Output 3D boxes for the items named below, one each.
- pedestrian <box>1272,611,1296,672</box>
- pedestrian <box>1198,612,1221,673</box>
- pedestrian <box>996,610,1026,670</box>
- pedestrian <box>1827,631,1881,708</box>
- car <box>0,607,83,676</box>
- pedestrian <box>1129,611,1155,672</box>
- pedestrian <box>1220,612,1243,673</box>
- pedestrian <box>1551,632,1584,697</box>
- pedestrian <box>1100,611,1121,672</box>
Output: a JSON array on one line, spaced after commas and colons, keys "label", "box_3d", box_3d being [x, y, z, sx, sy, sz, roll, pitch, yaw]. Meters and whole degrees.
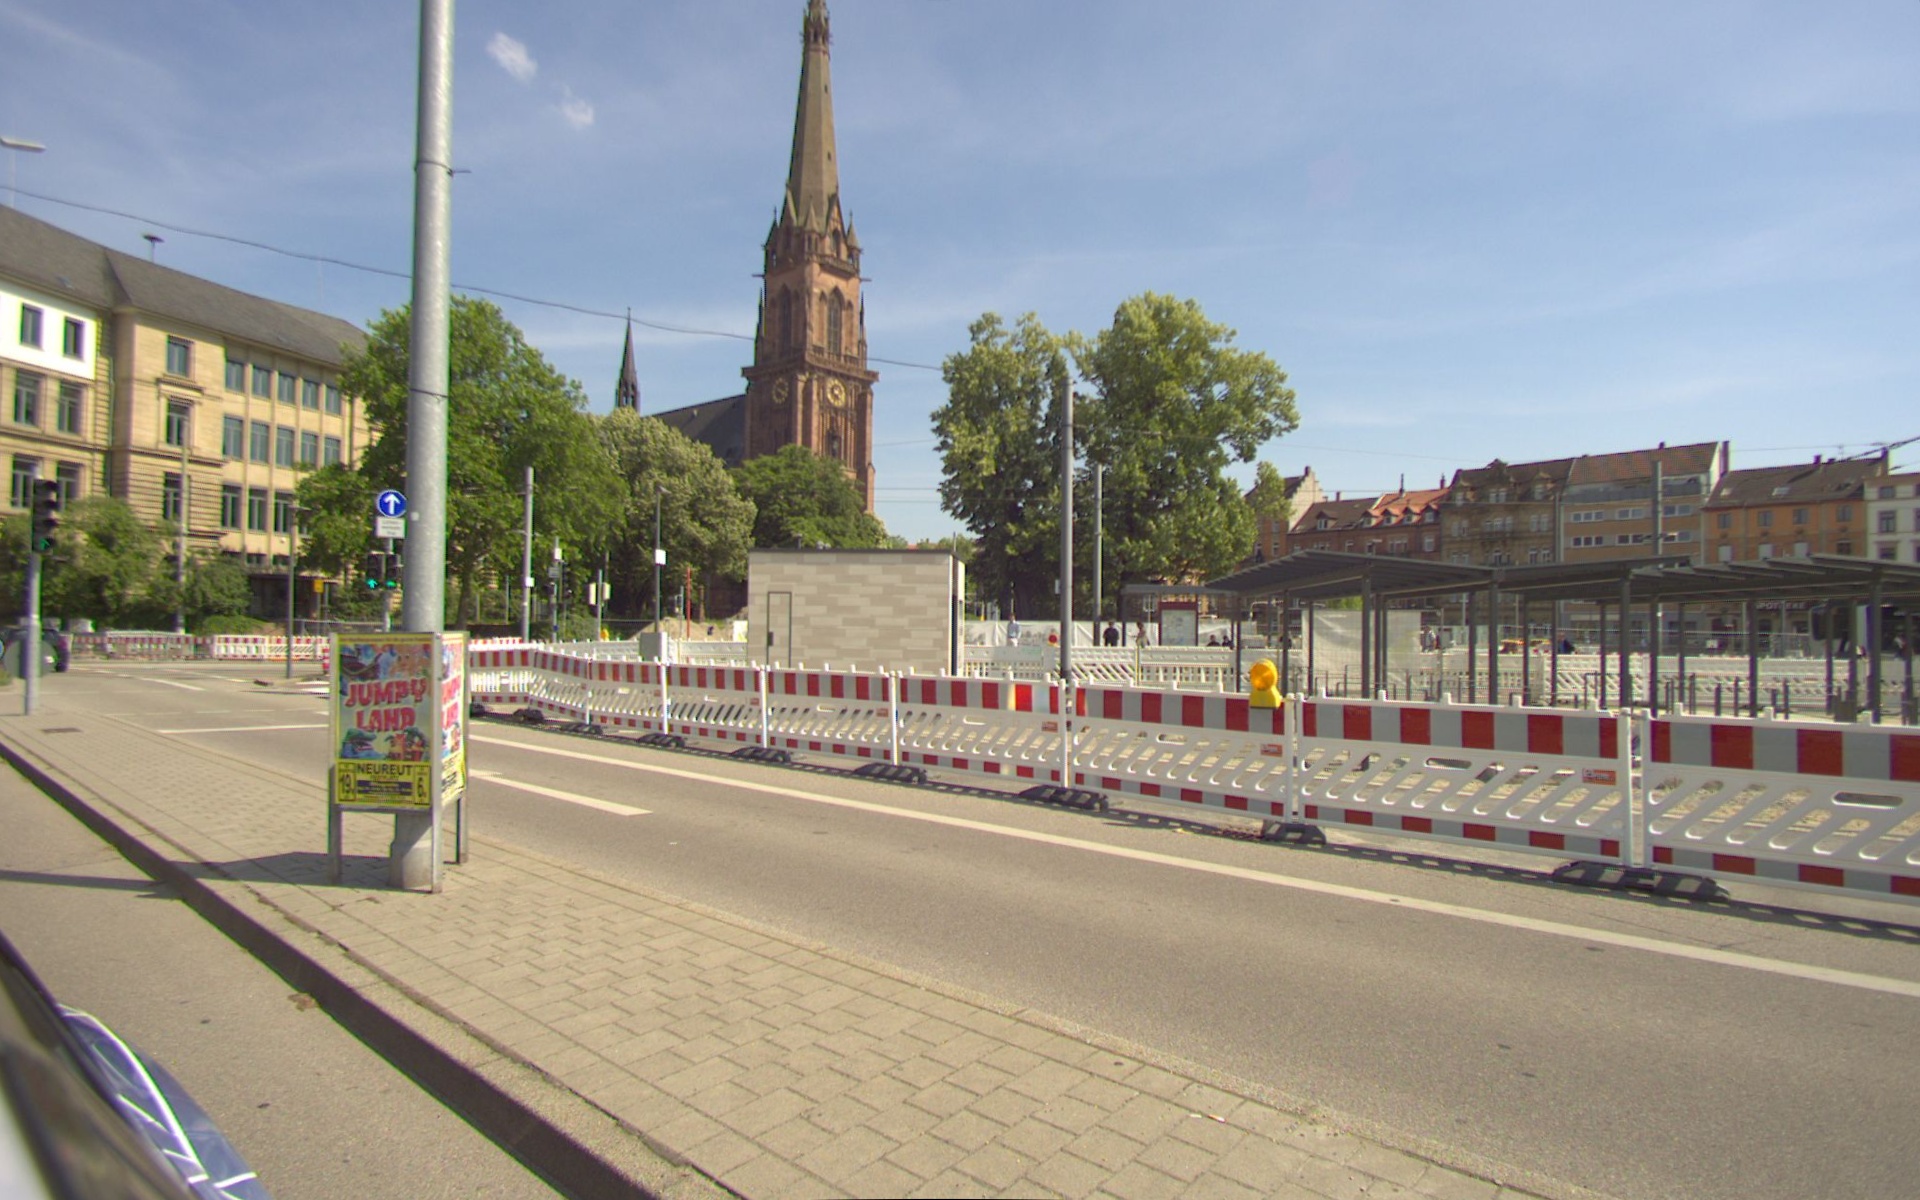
[{"label": "pedestrian", "box_3d": [11.005, 1.401, 34.369, 0.679, 2.029, 0.818, 0, -2, 11]}, {"label": "pedestrian", "box_3d": [8.391, 1.421, 34.080, 0.679, 2.029, 0.818, 0, -2, 11]}, {"label": "pedestrian", "box_3d": [1.765, 1.382, 34.976, 0.686, 2.029, 0.809, -1, -3, 43]}, {"label": "pedestrian", "box_3d": [18.866, 1.456, 21.364, 0.608, 1.594, 0.573, 0, -2, 8]}, {"label": "car", "box_3d": [-29.248, 1.271, 31.683, 3.996, 2.029, 1.974, -1, -3, 39]}, {"label": "pedestrian", "box_3d": [6.222, 1.414, 34.606, 0.810, 2.029, 0.685, 1, -2, 6]}, {"label": "pedestrian", "box_3d": [9.086, 1.422, 33.912, 0.679, 2.029, 0.818, 0, -2, 11]}, {"label": "pedestrian", "box_3d": [19.197, 2.033, 32.007, 0.680, 2.029, 0.816, 0, -2, 16]}, {"label": "pedestrian", "box_3d": [5.176, 1.425, 34.789, 0.678, 2.029, 0.819, 0, -2, 7]}]
